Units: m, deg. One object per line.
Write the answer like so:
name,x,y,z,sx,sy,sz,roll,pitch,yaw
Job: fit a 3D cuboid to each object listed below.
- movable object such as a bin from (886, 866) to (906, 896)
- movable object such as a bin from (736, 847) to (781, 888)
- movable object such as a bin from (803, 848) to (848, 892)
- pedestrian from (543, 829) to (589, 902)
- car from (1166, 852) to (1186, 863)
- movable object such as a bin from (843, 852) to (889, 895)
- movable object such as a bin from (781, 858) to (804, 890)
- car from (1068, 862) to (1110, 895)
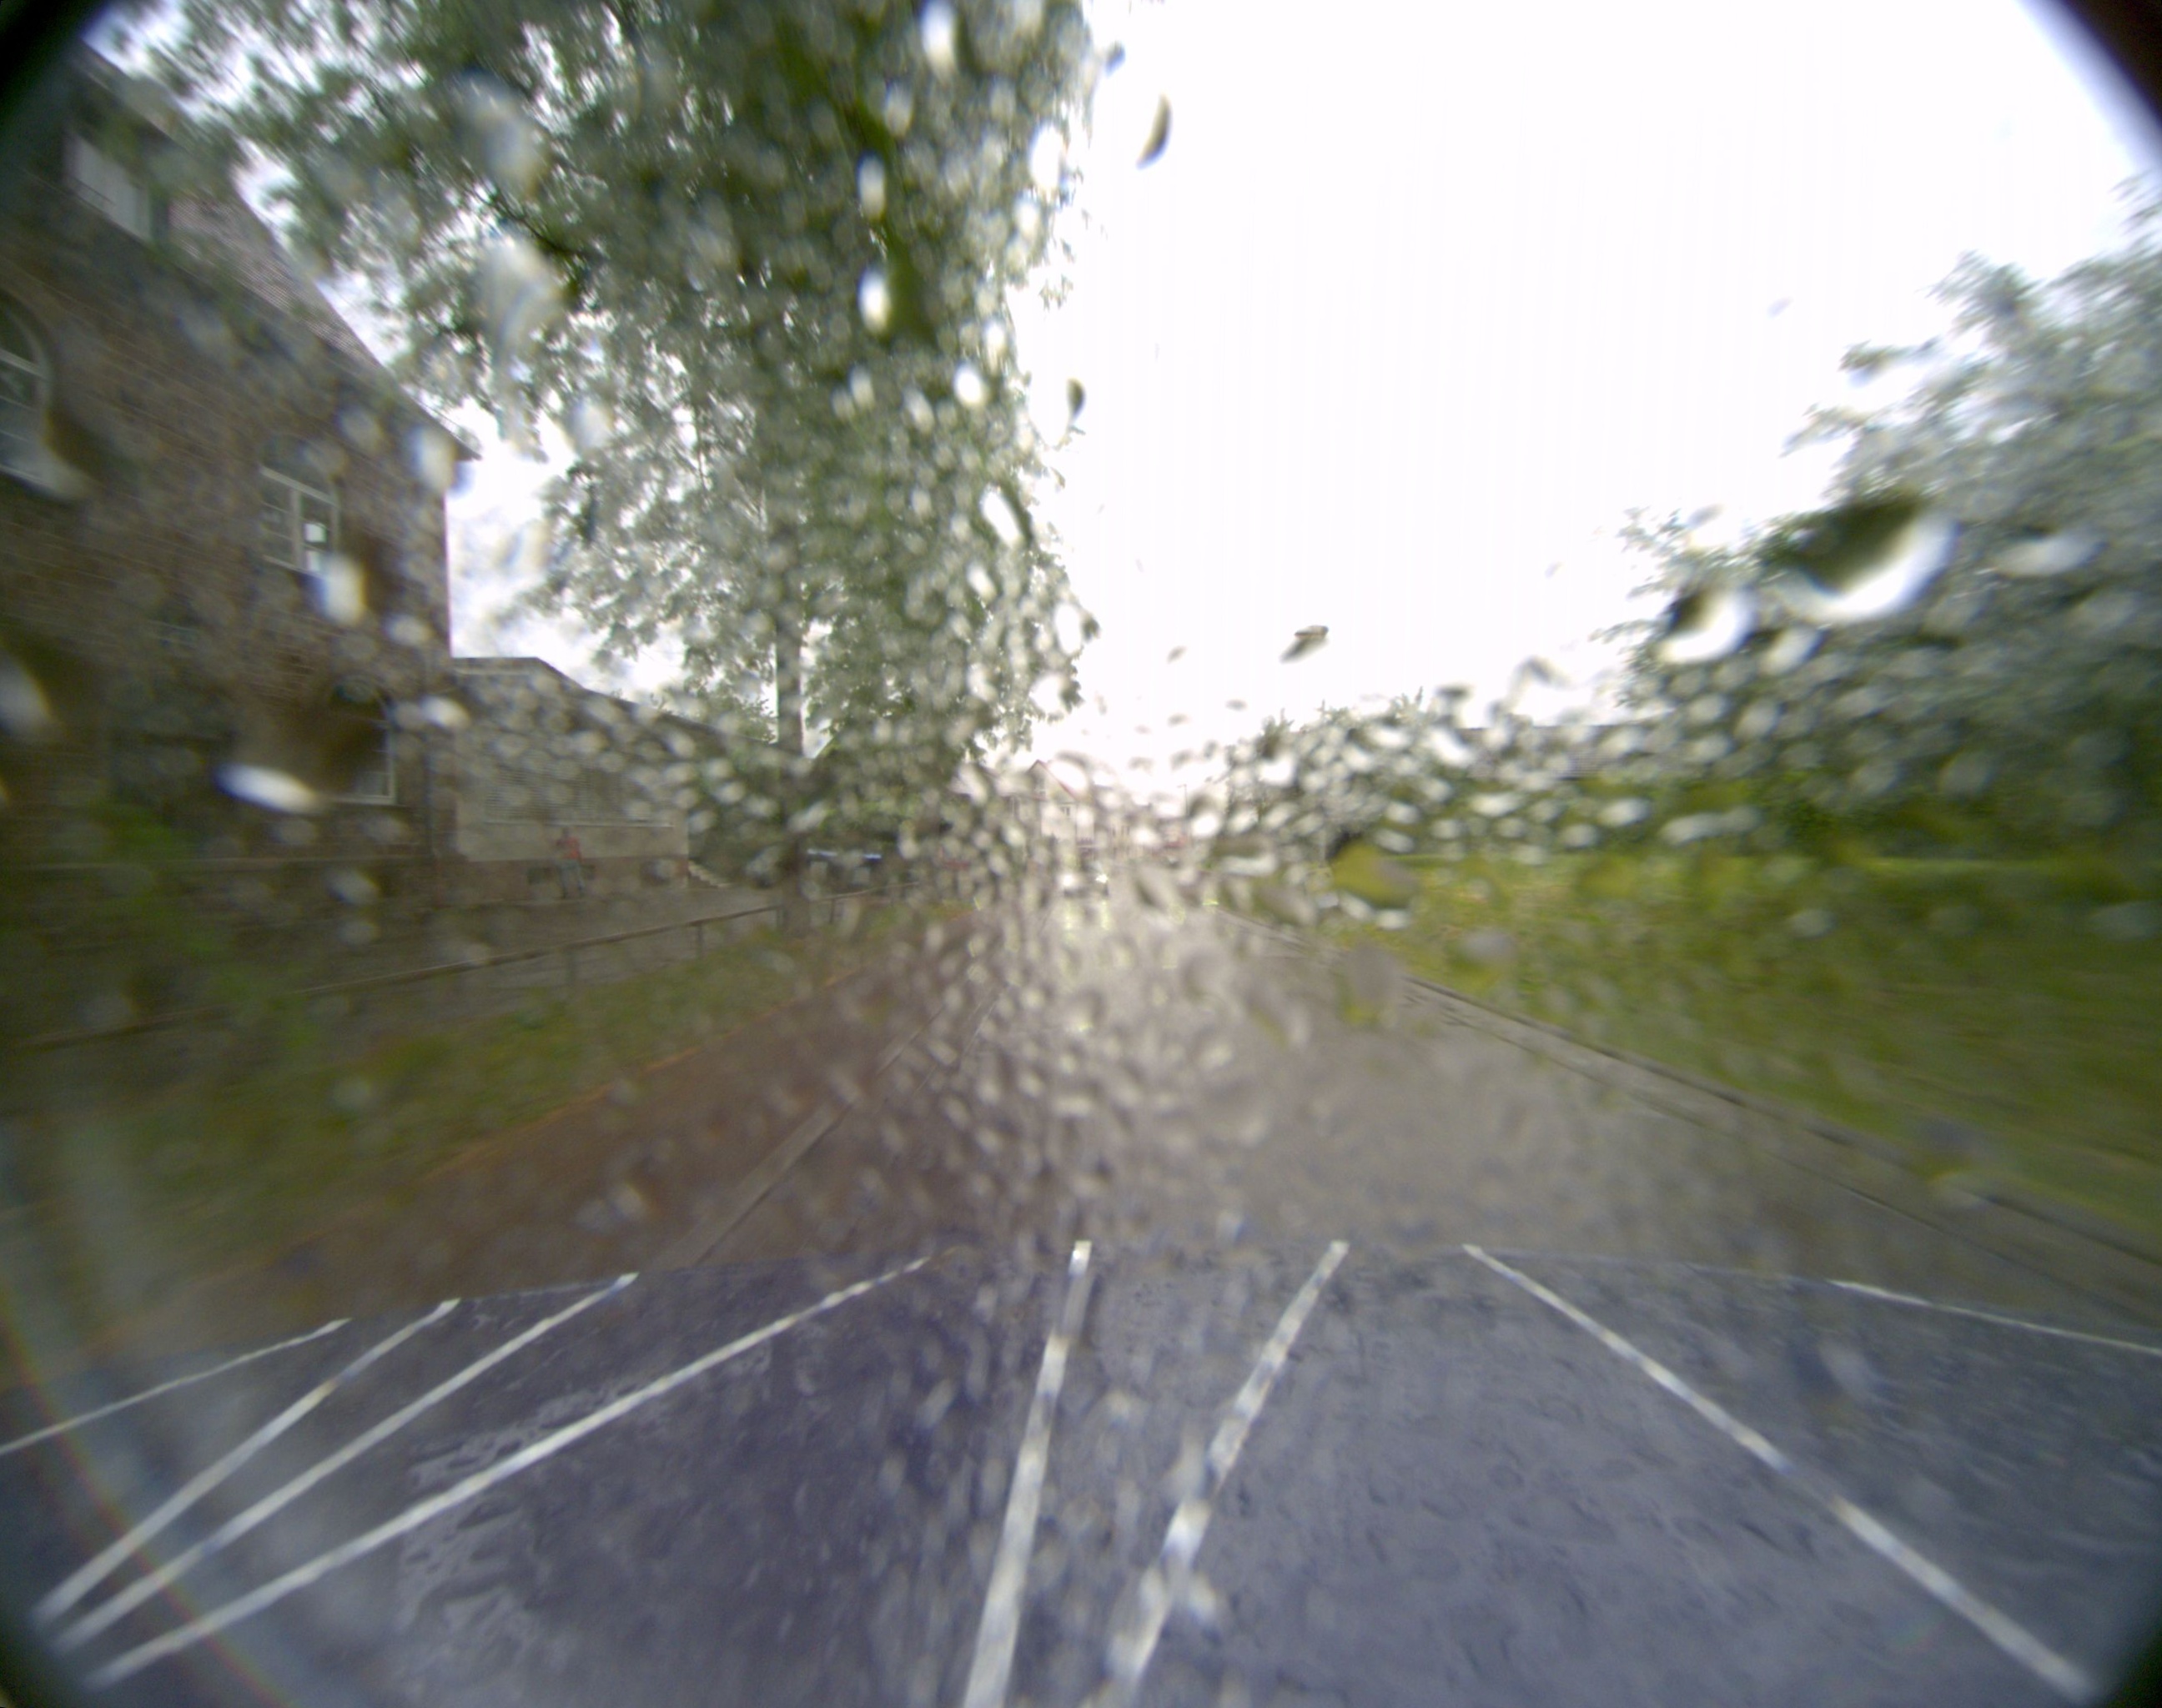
movable object such as a bin,-6.439,0.930,26.479,0.538,1.017,0.462,3,1,-1
movable object such as a bin,-11.214,0.473,26.439,1.151,1.335,0.795,3,1,0
movable object such as a bin,-8.916,0.545,26.556,1.238,1.428,0.795,3,1,-1
pedestrian,-12.524,0.278,18.496,0.536,1.744,0.867,0,0,1
car,14.715,0.510,117.817,1.892,1.566,3.887,-3,0,-13
movable object such as a bin,-7.450,0.672,26.392,1.296,1.410,0.795,3,1,-1
movable object such as a bin,-10.084,0.691,26.558,0.568,1.073,0.530,3,1,-1
car,0.289,1.004,32.466,1.667,1.290,3.518,-2,0,-1
